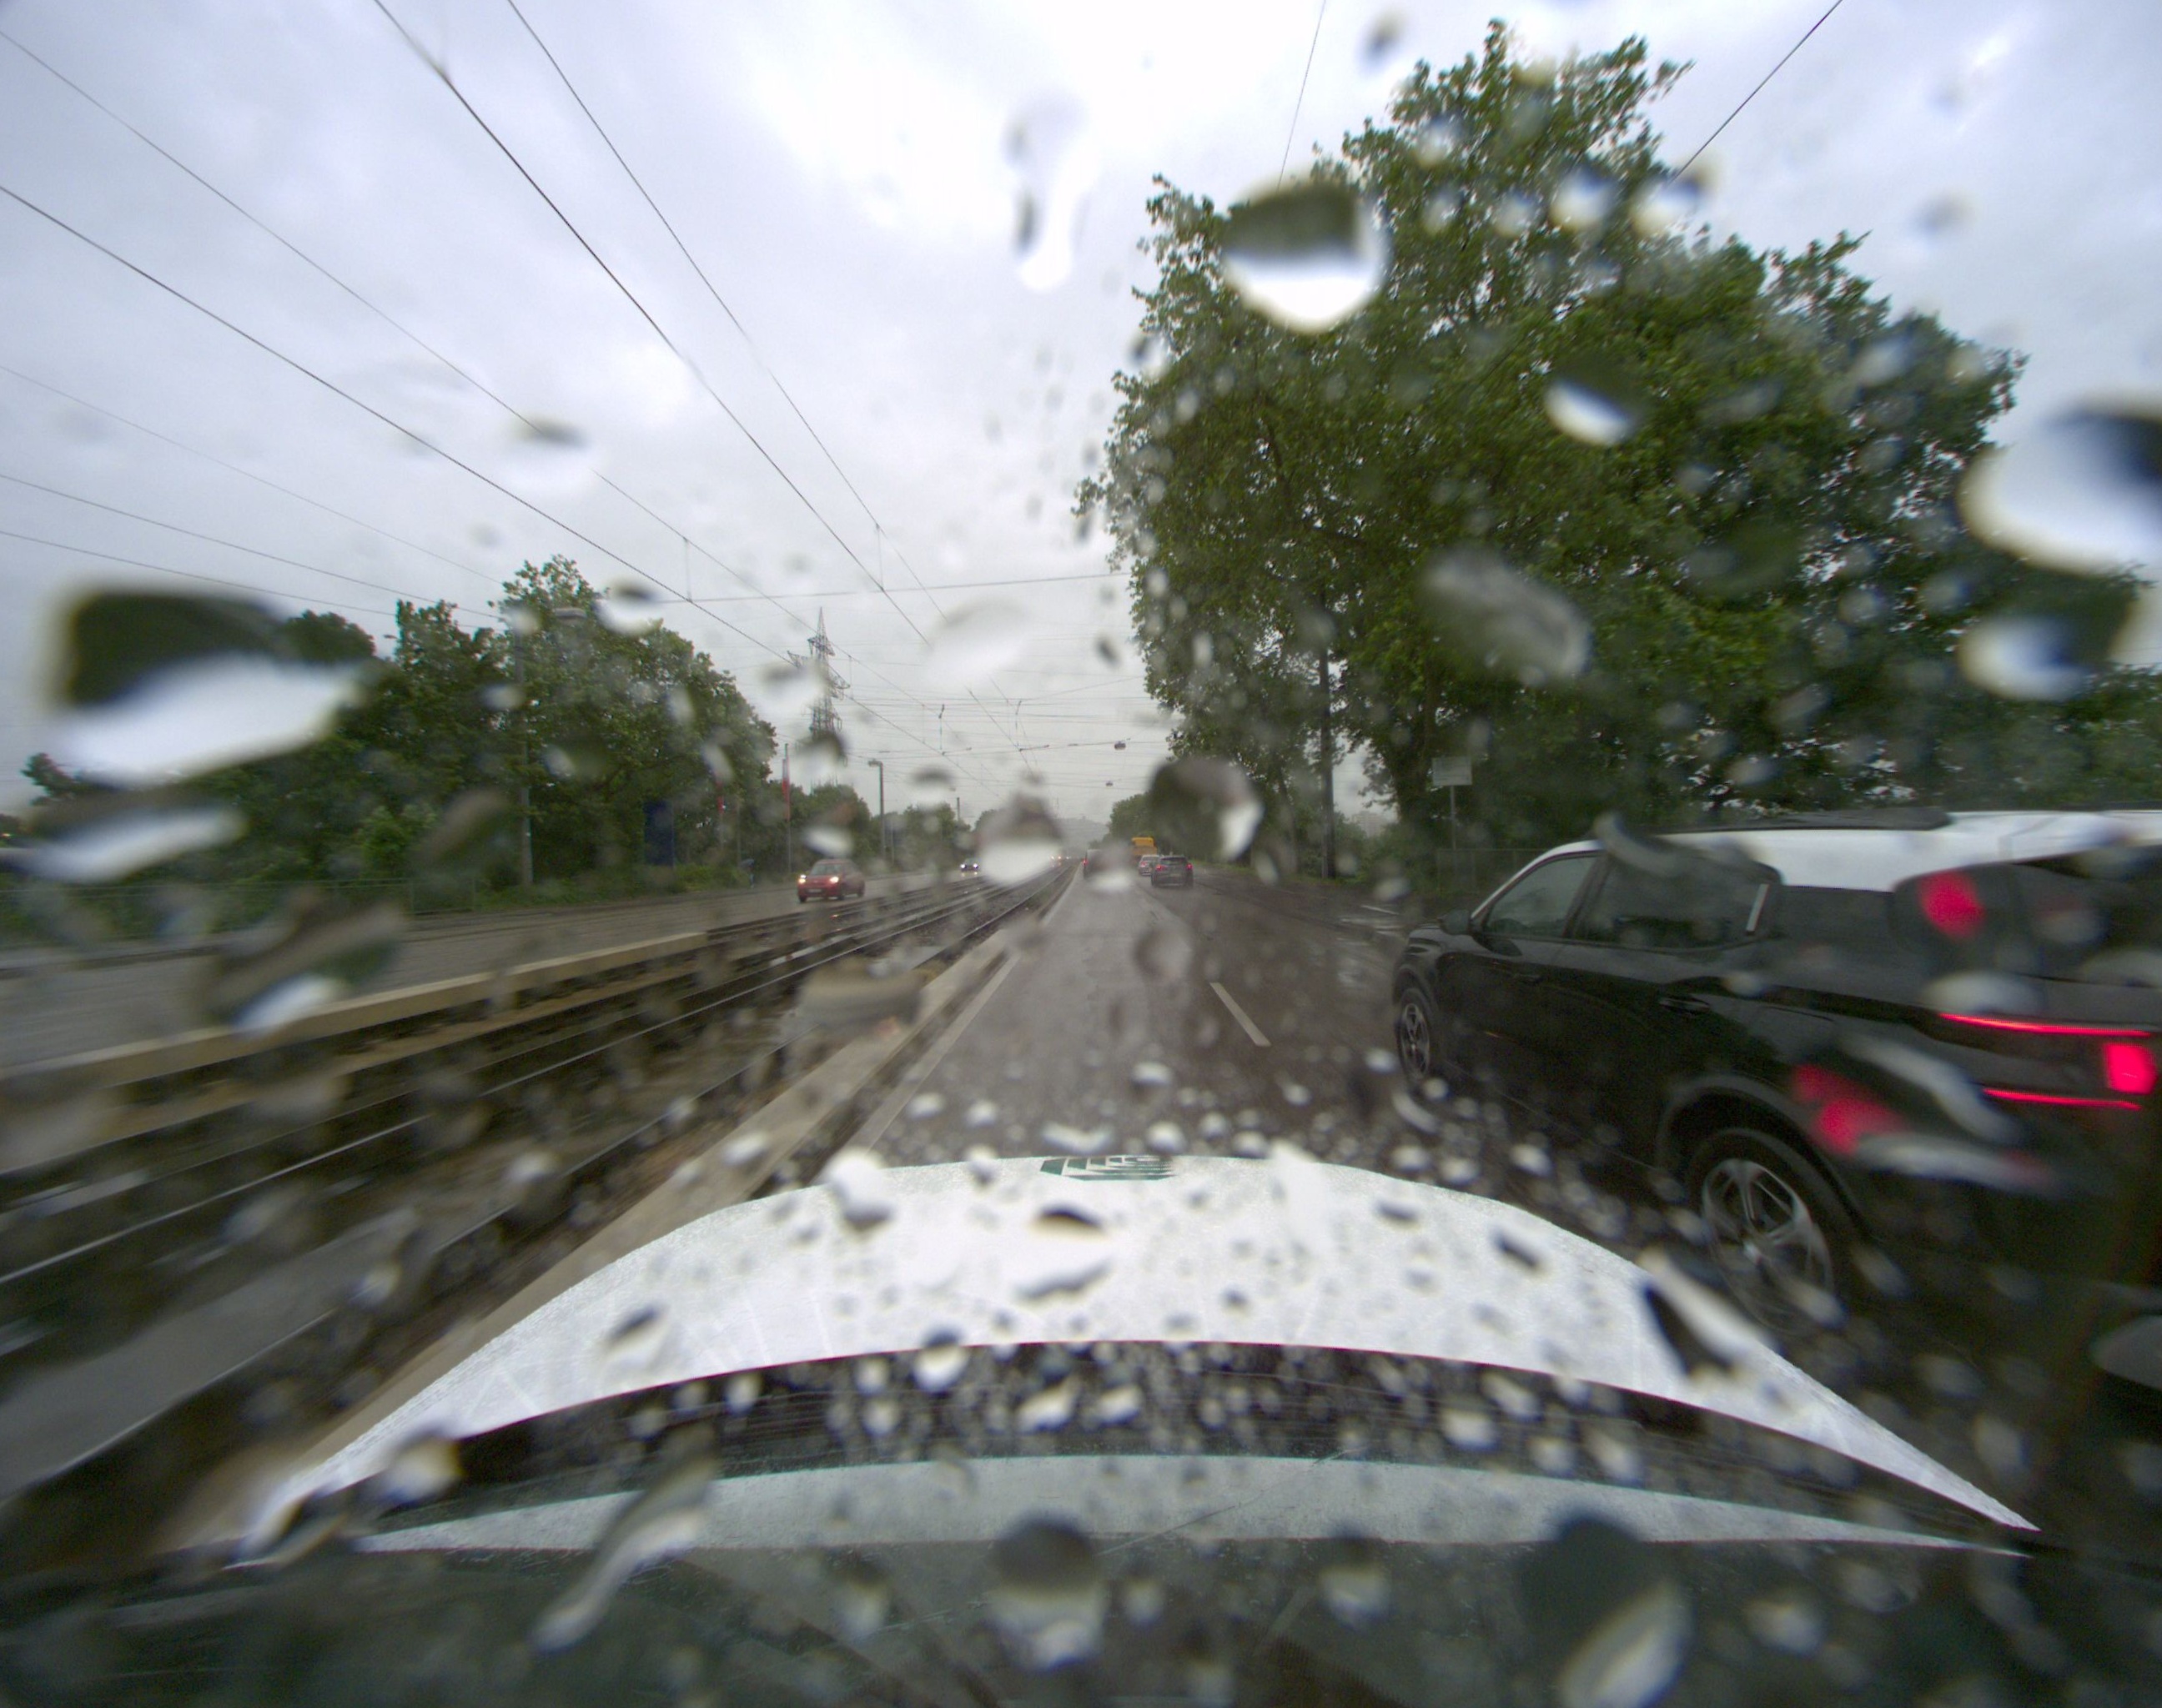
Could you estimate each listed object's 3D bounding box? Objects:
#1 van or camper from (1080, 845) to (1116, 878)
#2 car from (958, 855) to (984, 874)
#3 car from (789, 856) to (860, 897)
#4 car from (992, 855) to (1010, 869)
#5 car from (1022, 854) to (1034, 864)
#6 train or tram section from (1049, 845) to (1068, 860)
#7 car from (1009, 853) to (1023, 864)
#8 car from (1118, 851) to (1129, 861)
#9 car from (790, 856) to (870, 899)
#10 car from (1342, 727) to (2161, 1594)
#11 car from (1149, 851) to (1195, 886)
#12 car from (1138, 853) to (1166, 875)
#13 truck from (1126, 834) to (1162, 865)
[{"bbox_3d":[0.964,0.386,48.070,1.987,1.784,3.999,0,1,-1],"label":"van or camper"},{"bbox_3d":[-11.781,1.108,87.440,1.985,1.903,4.004,0,0,3],"label":"car"},{"bbox_3d":[-12.587,1.063,40.186,1.985,1.816,4.004,-2,0,3],"label":"car"},{"bbox_3d":[-11.993,1.181,122.310,1.985,1.903,4.004,0,0,3],"label":"car"},{"bbox_3d":[-10.771,0.931,165.279,1.985,1.903,4.004,0,0,3],"label":"car"},{"bbox_3d":[-4.595,-0.352,171.116,2.839,2.893,14.015,-2,0,2],"label":"train or tram section"},{"bbox_3d":[-11.390,0.769,142.711,1.985,1.903,4.004,0,0,3],"label":"car"},{"bbox_3d":[7.871,0.389,151.116,1.985,1.903,4.003,0,0,3],"label":"car"},{"bbox_3d":[-9.678,0.859,31.710,1.650,1.486,4.016,-2,0,3],"label":"car"},{"bbox_3d":[2.935,0.559,3.966,1.893,1.716,4.727,0,1,1],"label":"car"},{"bbox_3d":[4.066,0.621,36.859,1.811,1.414,3.781,0,1,2],"label":"car"},{"bbox_3d":[4.907,0.642,56.765,1.811,1.414,3.781,0,1,2],"label":"car"},{"bbox_3d":[6.016,-0.442,78.755,3.101,2.773,6.332,-1,0,2],"label":"truck"}]
